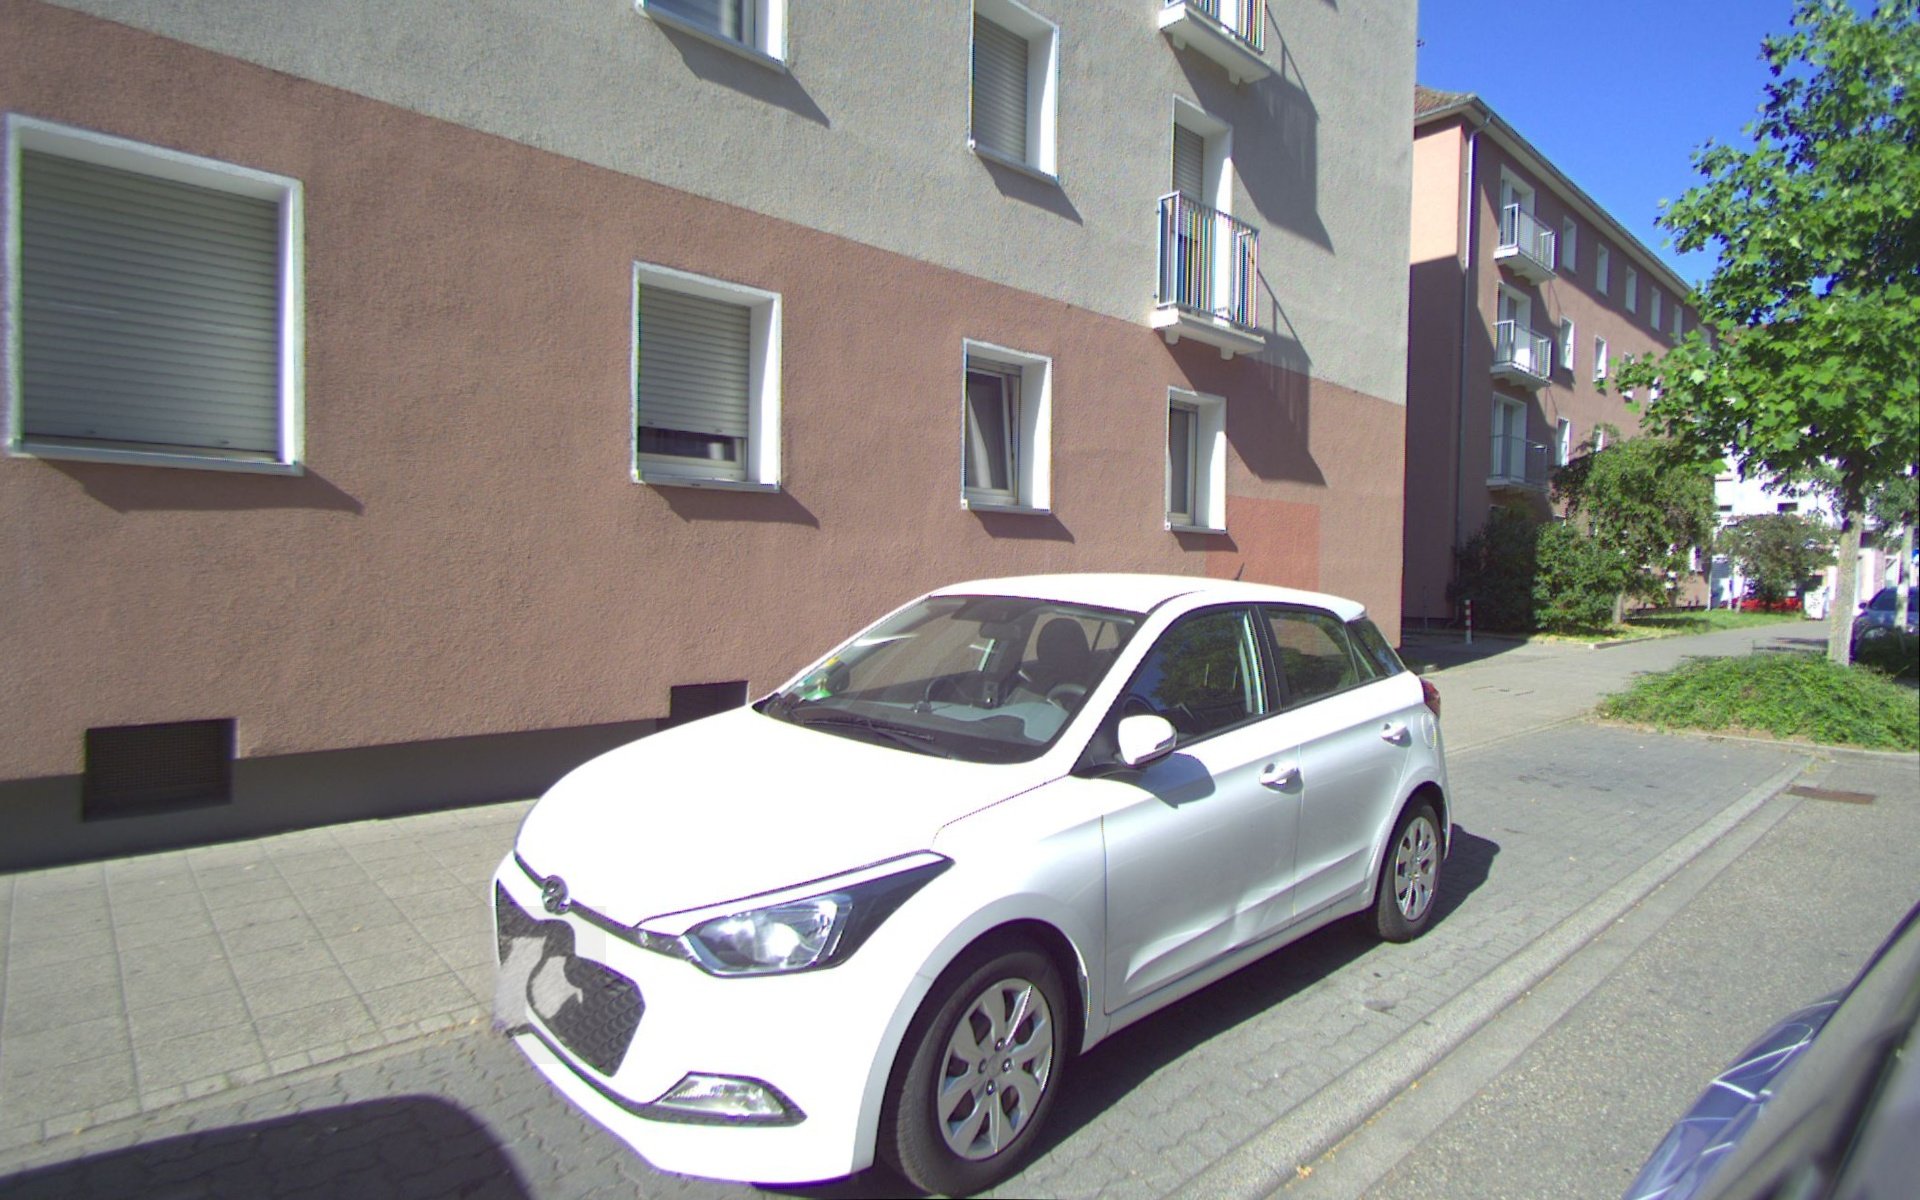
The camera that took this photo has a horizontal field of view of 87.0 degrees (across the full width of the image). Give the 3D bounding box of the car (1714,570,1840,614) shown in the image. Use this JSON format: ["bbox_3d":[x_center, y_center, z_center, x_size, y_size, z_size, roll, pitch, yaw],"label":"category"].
[{"bbox_3d":[40.979,-0.444,50.825,4.743,2.038,1.969,2,2,44],"label":"car"}]

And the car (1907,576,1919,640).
[{"bbox_3d":[24.819,0.189,25.059,4.238,1.500,1.660,-1,2,-42],"label":"car"}]

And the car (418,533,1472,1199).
[{"bbox_3d":[0.278,0.575,3.765,3.732,1.504,1.733,-1,4,-44],"label":"car"}]

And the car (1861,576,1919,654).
[{"bbox_3d":[20.104,0.277,20.963,3.932,1.471,1.719,-2,3,-42],"label":"car"}]

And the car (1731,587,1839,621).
[{"bbox_3d":[37.747,0.140,46.378,1.541,1.419,3.644,-1,2,-42],"label":"car"}]
